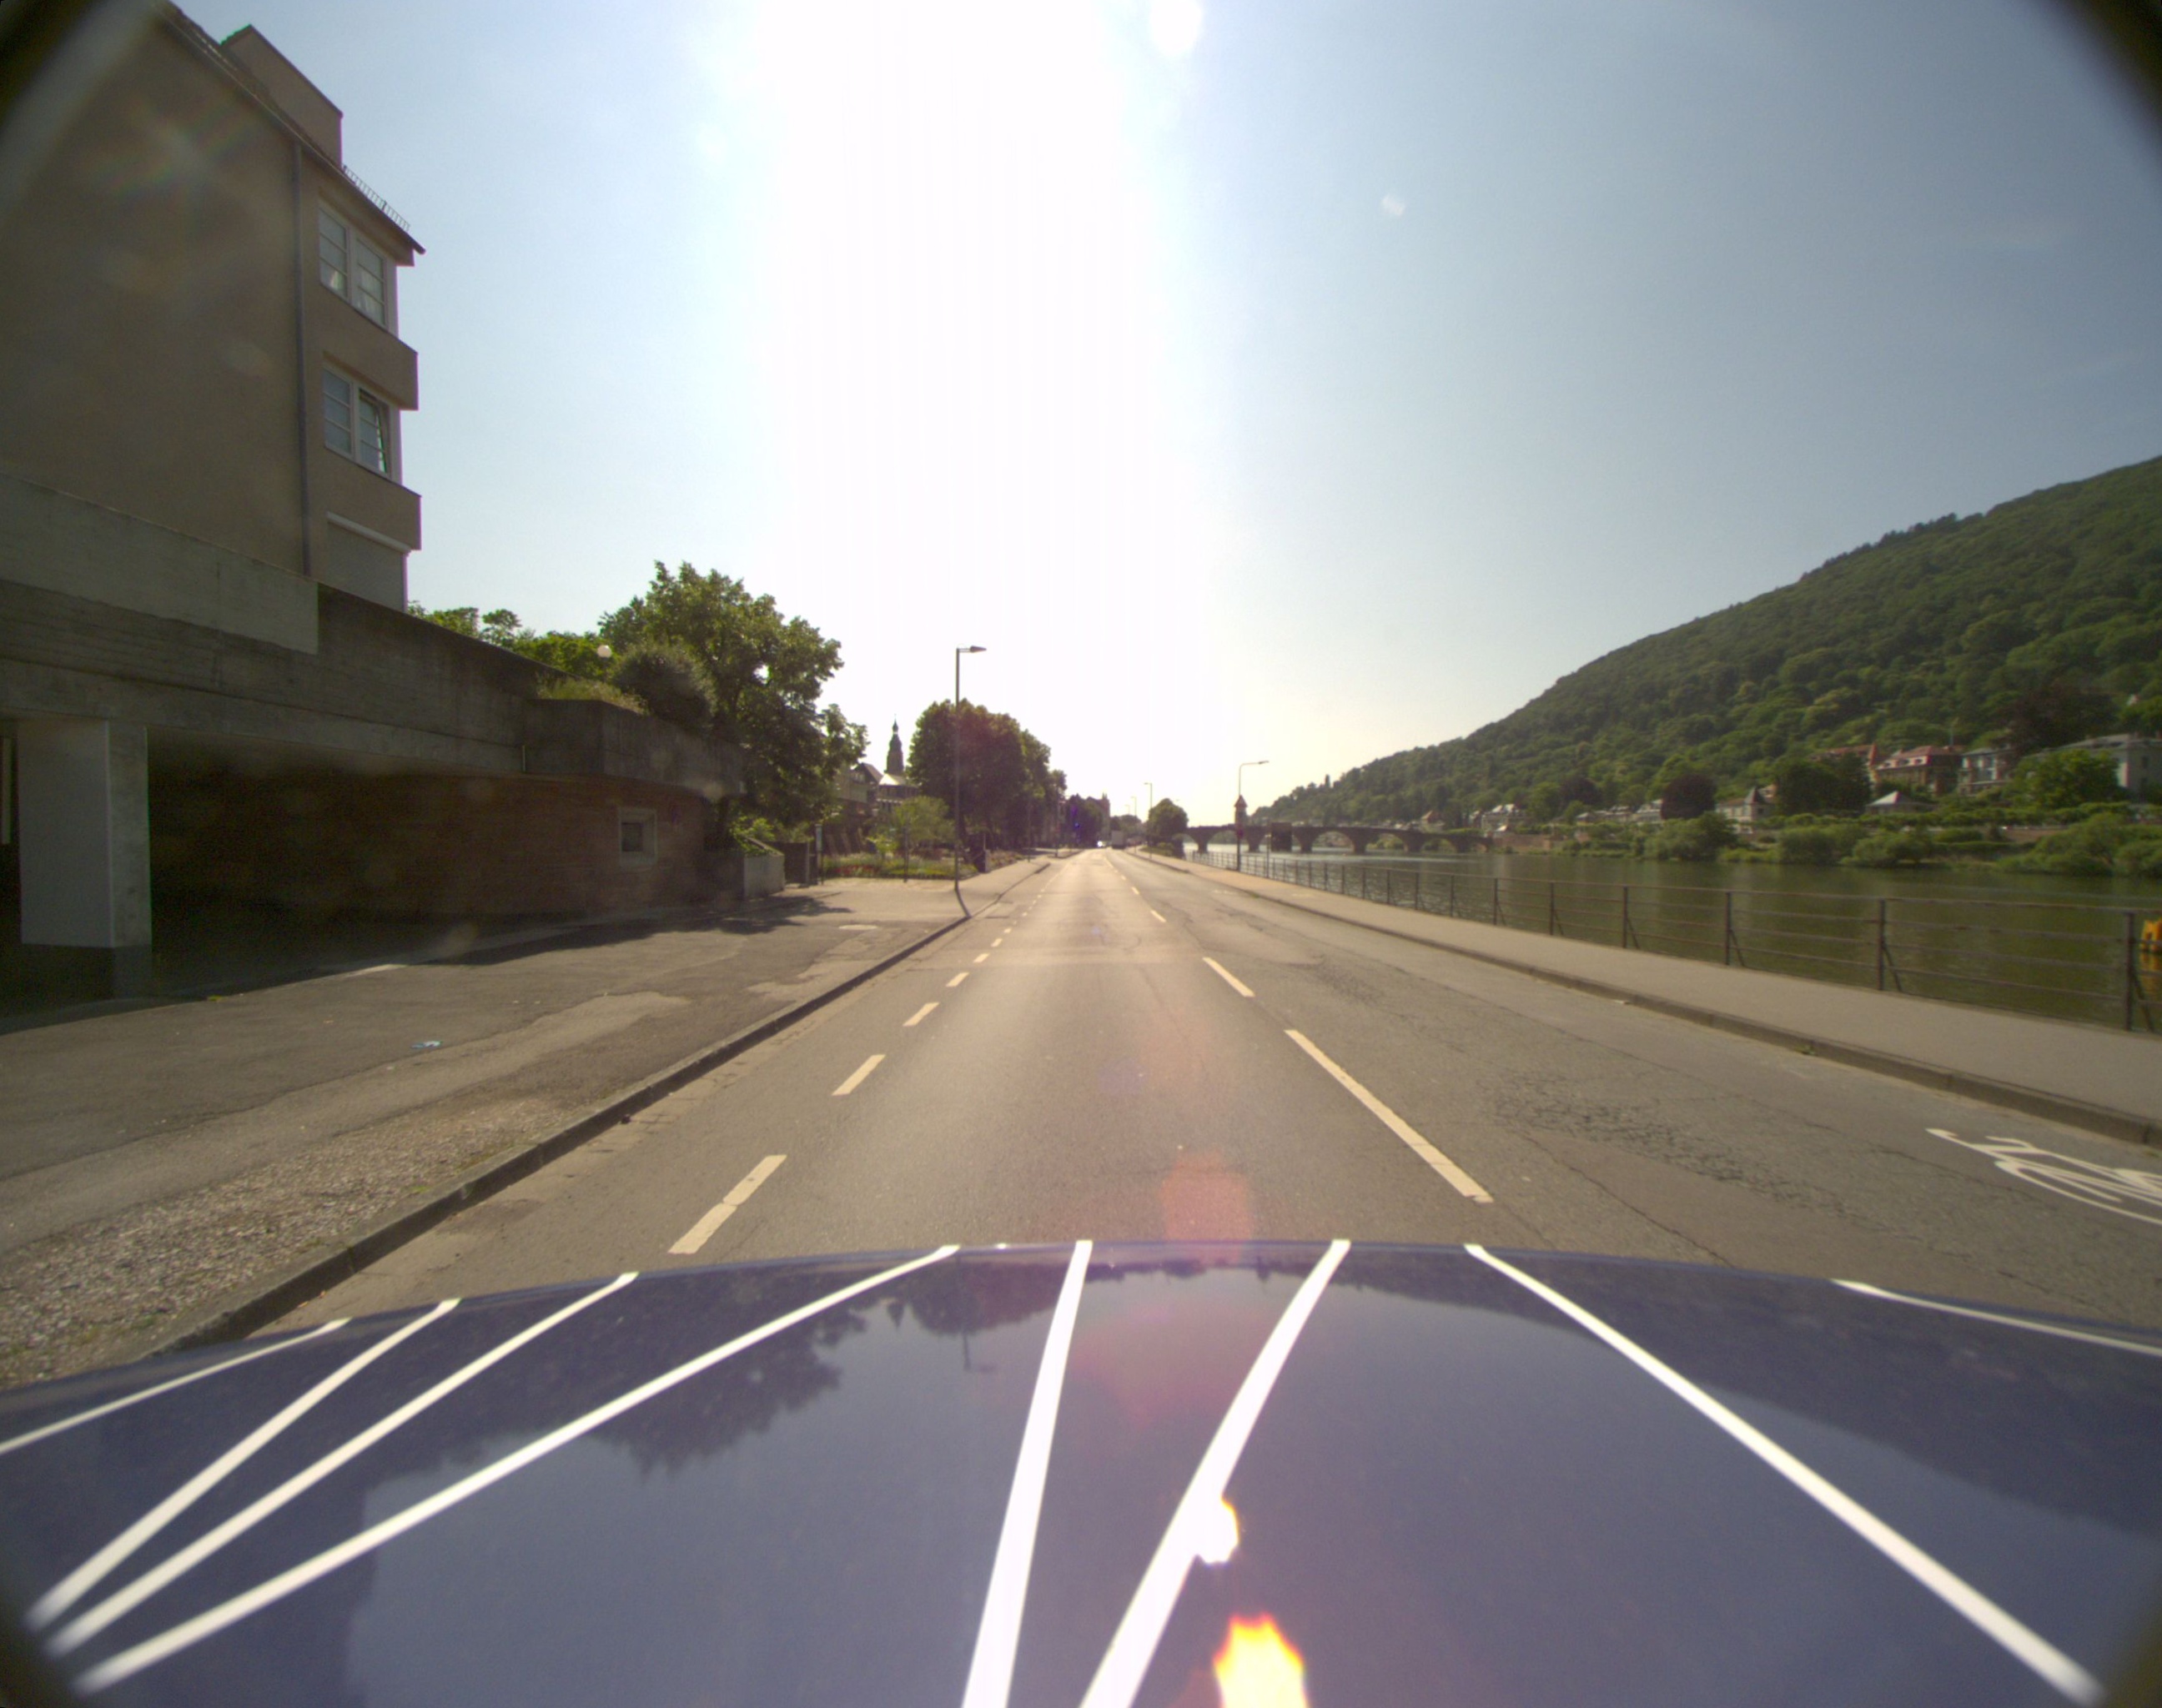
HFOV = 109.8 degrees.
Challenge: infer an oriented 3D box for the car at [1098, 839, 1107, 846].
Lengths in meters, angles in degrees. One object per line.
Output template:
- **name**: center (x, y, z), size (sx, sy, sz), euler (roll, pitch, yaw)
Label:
- **car**: center (4.762, -2.557, 167.899), size (1.998, 1.433, 4.001), euler (2, 0, 3)
